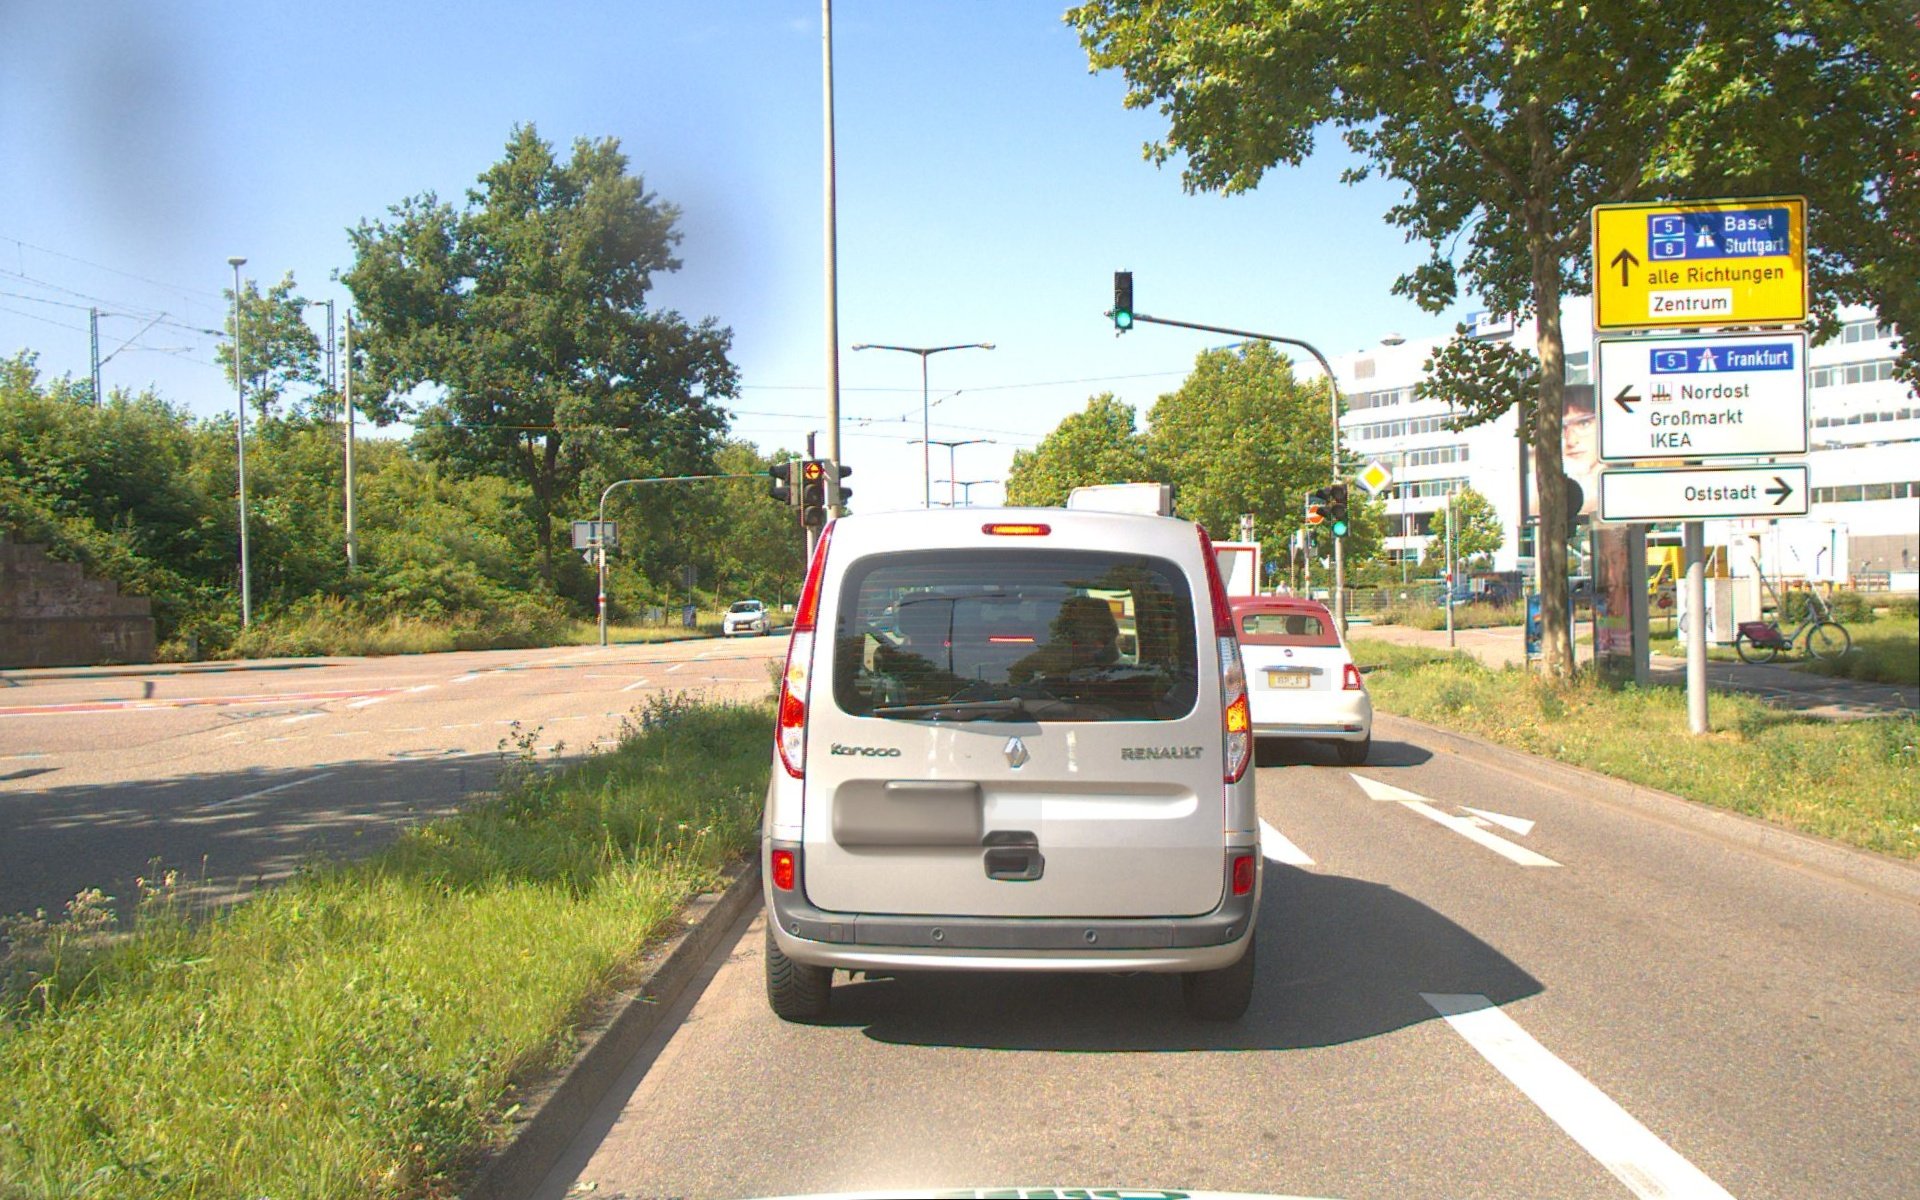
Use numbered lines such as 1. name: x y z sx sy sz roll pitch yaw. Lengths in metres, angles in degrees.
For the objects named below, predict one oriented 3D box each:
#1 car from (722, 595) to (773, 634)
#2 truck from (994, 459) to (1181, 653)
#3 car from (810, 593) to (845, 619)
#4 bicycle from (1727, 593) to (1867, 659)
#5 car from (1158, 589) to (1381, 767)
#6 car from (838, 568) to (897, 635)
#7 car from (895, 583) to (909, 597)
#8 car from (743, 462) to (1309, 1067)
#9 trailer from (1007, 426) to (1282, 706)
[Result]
1. car: -8.885 0.585 69.480 1.665 1.534 3.999 -1 1 -1
2. truck: 2.910 -0.835 35.472 2.848 3.707 7.195 1 0 13
3. car: -8.869 0.385 111.071 1.872 1.670 3.738 -1 0 2
4. bicycle: 13.736 0.428 27.199 1.959 1.031 0.621 -1 0 16
5. car: 2.925 0.690 16.190 1.507 1.541 3.259 1 0 -1
6. car: -3.846 0.068 69.573 1.952 2.653 5.135 -1 0 2
7. car: -8.731 -1.569 250.384 1.849 2.049 4.001 1 0 1
8. car: 0.184 0.527 7.194 1.750 1.870 3.999 1 0 -1
9. trailer: 2.655 -0.428 28.444 2.842 3.686 12.680 1 0 -2
